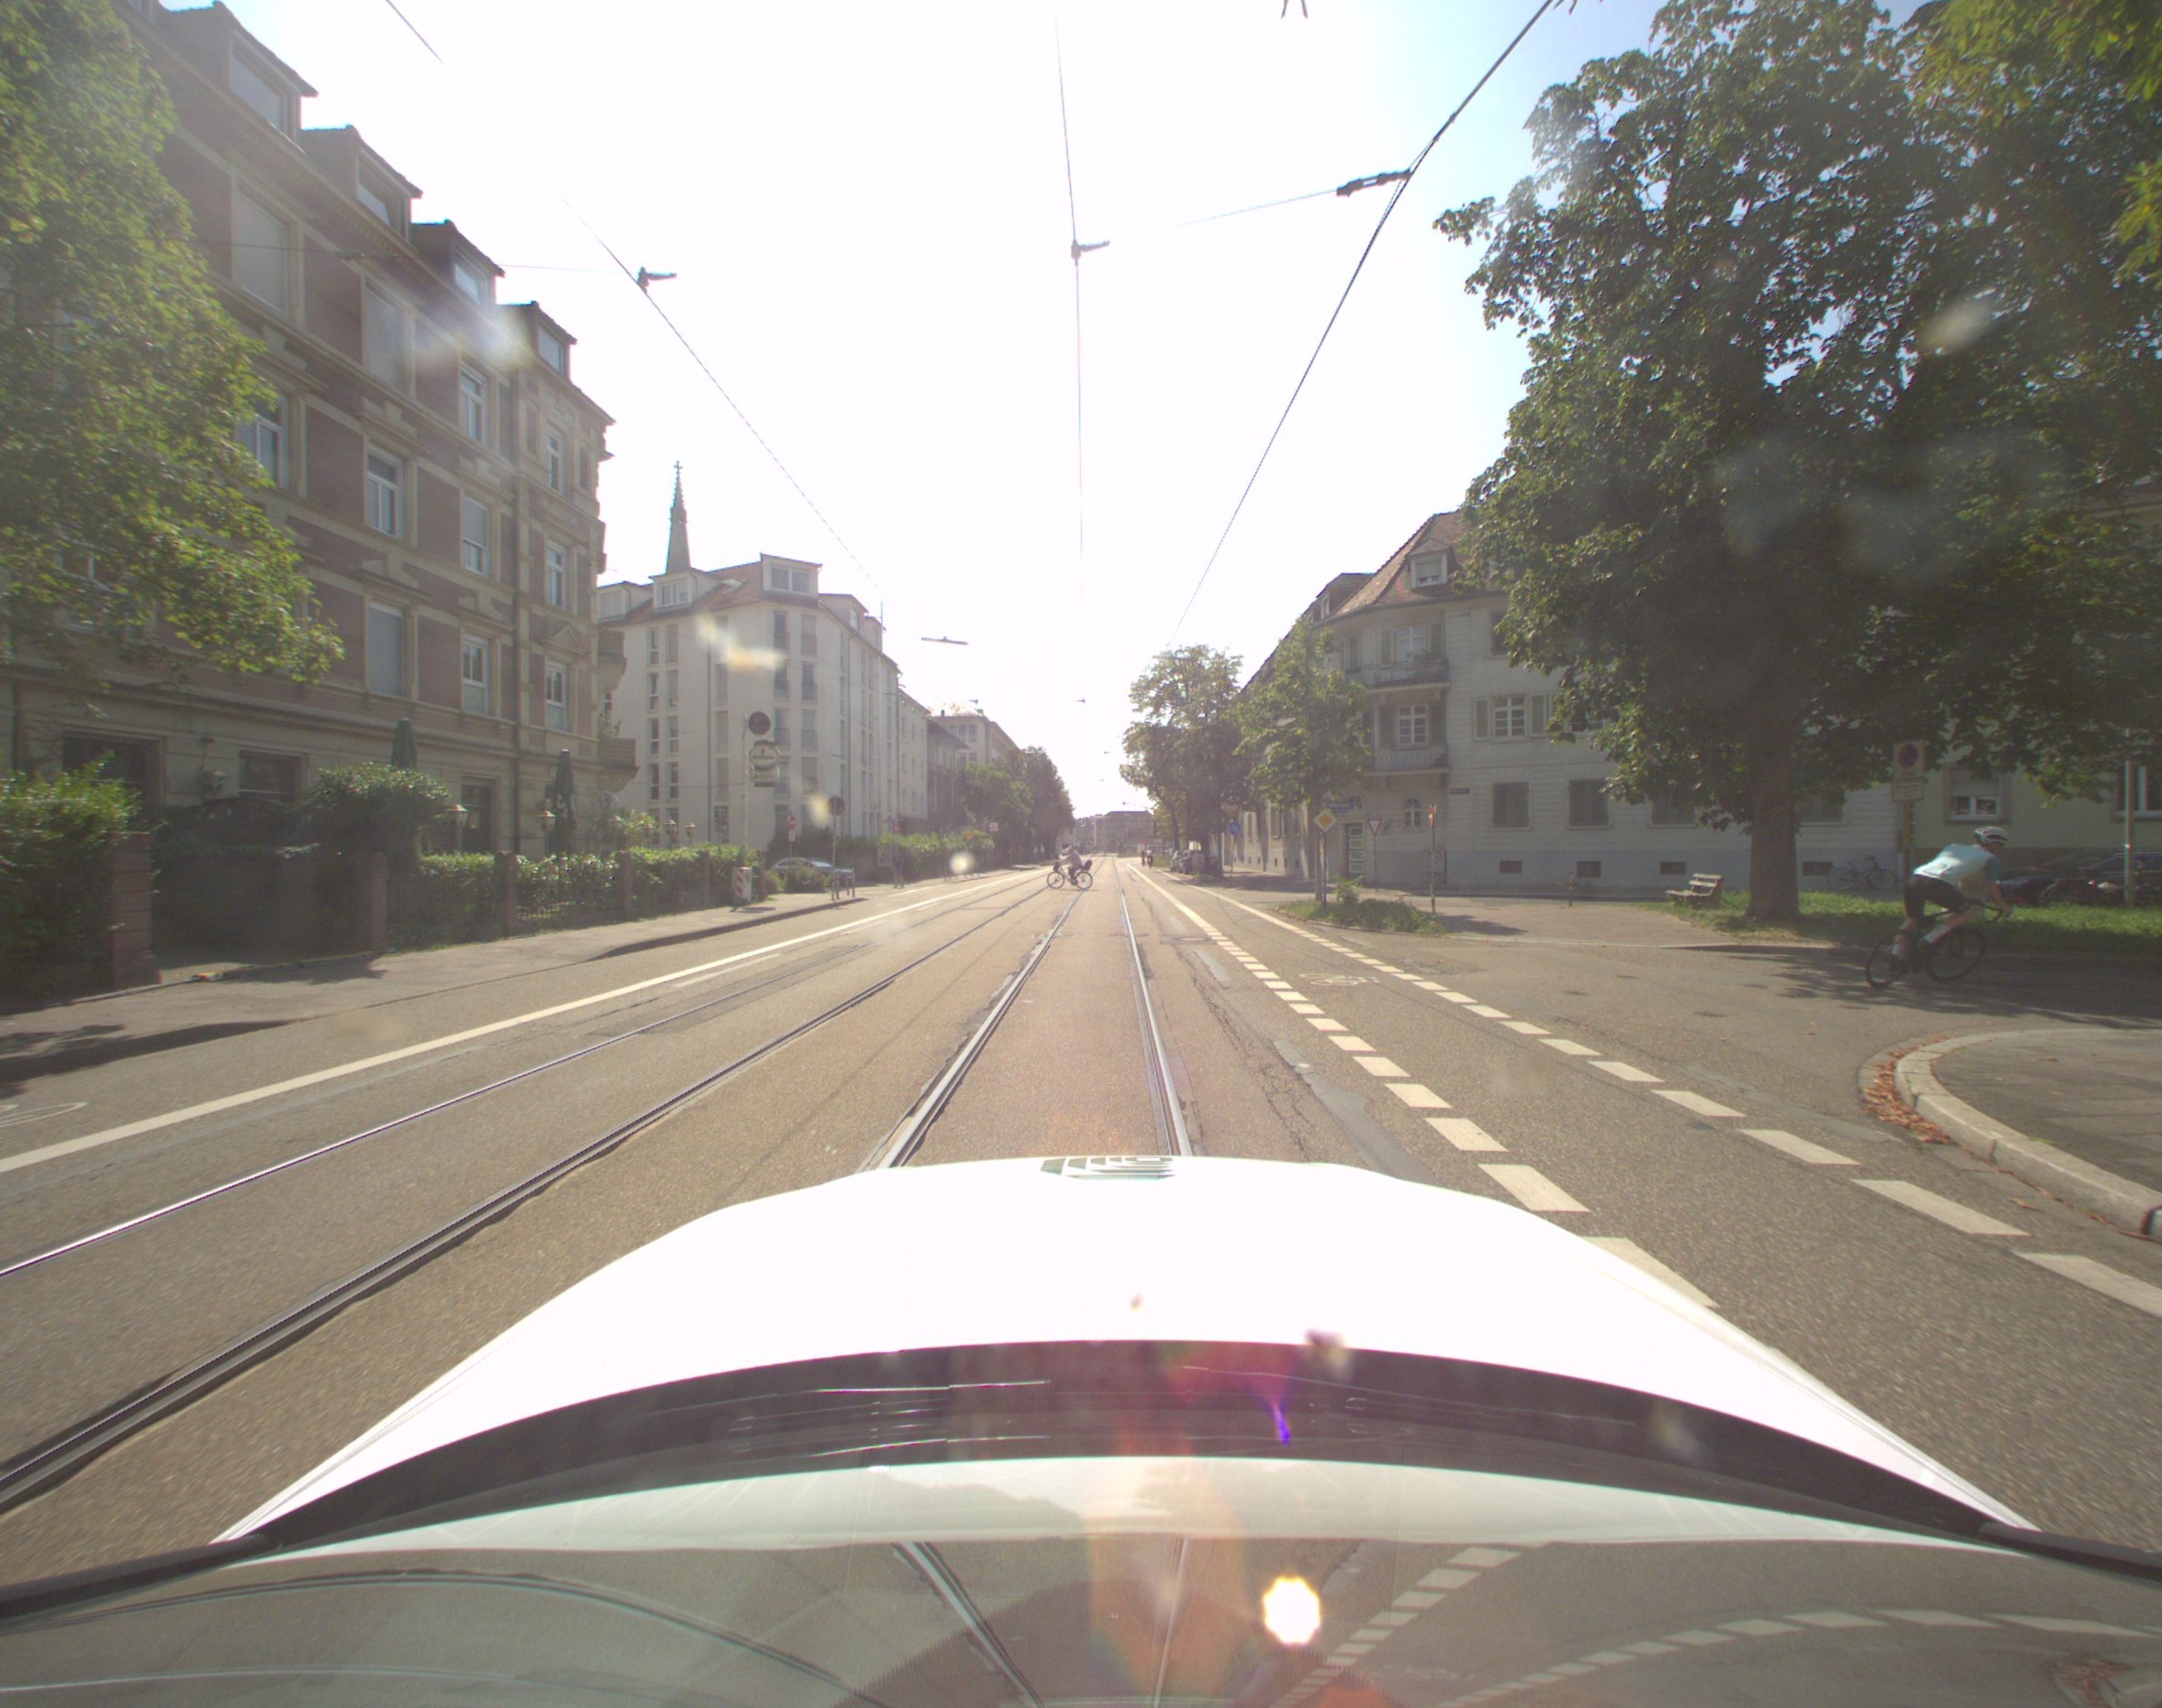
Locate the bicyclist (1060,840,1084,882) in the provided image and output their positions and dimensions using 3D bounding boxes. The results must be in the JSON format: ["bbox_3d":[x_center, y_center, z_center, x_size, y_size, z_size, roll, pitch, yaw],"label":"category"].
[{"bbox_3d":[-0.350,0.265,31.985,0.819,1.642,0.787,0,0,6],"label":"bicyclist"}]

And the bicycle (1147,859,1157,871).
[{"bbox_3d":[5.839,0.912,67.144,0.755,0.991,2.301,-1,0,4],"label":"bicycle"}]

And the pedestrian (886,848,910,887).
[{"bbox_3d":[-8.273,0.599,36.823,0.776,1.756,1.041,-1,0,2],"label":"pedestrian"}]

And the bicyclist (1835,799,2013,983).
[{"bbox_3d":[9.153,0.369,8.869,0.958,1.837,1.119,0,0,-28],"label":"bicyclist"}]

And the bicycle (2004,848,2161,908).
[{"bbox_3d":[20.608,0.462,15.917,3.173,1.112,1.170,1,1,27],"label":"bicycle"}]

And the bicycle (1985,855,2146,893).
[{"bbox_3d":[28.353,0.556,23.546,2.745,1.029,1.170,1,0,25],"label":"bicycle"}]

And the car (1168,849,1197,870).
[{"bbox_3d":[7.161,0.407,57.626,1.578,1.464,3.467,-1,-1,0],"label":"car"}]

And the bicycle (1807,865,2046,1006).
[{"bbox_3d":[9.292,0.797,8.933,2.719,1.269,1.141,-1,0,-29],"label":"bicycle"}]

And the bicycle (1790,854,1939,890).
[{"bbox_3d":[24.526,0.536,25.610,3.173,1.029,1.170,1,0,27],"label":"bicycle"}]

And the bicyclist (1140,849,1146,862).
[{"bbox_3d":[5.979,0.175,78.591,0.576,1.279,0.472,-1,0,4],"label":"bicyclist"}]

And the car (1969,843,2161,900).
[{"bbox_3d":[26.400,0.448,21.133,4.229,1.382,1.692,0,-1,30],"label":"car"}]

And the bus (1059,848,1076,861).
[{"bbox_3d":[-3.399,0.088,209.439,3.721,3.364,15.125,-1,0,2],"label":"bus"}]

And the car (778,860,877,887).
[{"bbox_3d":[-12.238,0.929,39.354,4.193,1.184,2.011,-2,0,22],"label":"car"}]

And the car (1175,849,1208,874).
[{"bbox_3d":[6.730,0.446,49.963,1.578,1.464,3.415,-1,-1,0],"label":"car"}]

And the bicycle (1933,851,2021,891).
[{"bbox_3d":[26.383,0.474,24.041,1.001,1.118,2.287,1,0,27],"label":"bicycle"}]

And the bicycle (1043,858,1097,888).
[{"bbox_3d":[-0.419,0.731,31.997,2.024,1.151,0.787,0,0,6],"label":"bicycle"}]

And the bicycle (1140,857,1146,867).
[{"bbox_3d":[5.991,0.759,78.628,0.585,0.939,2.174,-1,0,4],"label":"bicycle"}]

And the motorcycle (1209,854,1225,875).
[{"bbox_3d":[7.270,0.550,43.479,0.546,1.068,2.332,-1,0,2],"label":"motorcycle"}]

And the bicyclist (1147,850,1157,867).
[{"bbox_3d":[5.813,0.369,66.911,0.755,1.391,0.780,-1,0,3],"label":"bicyclist"}]
